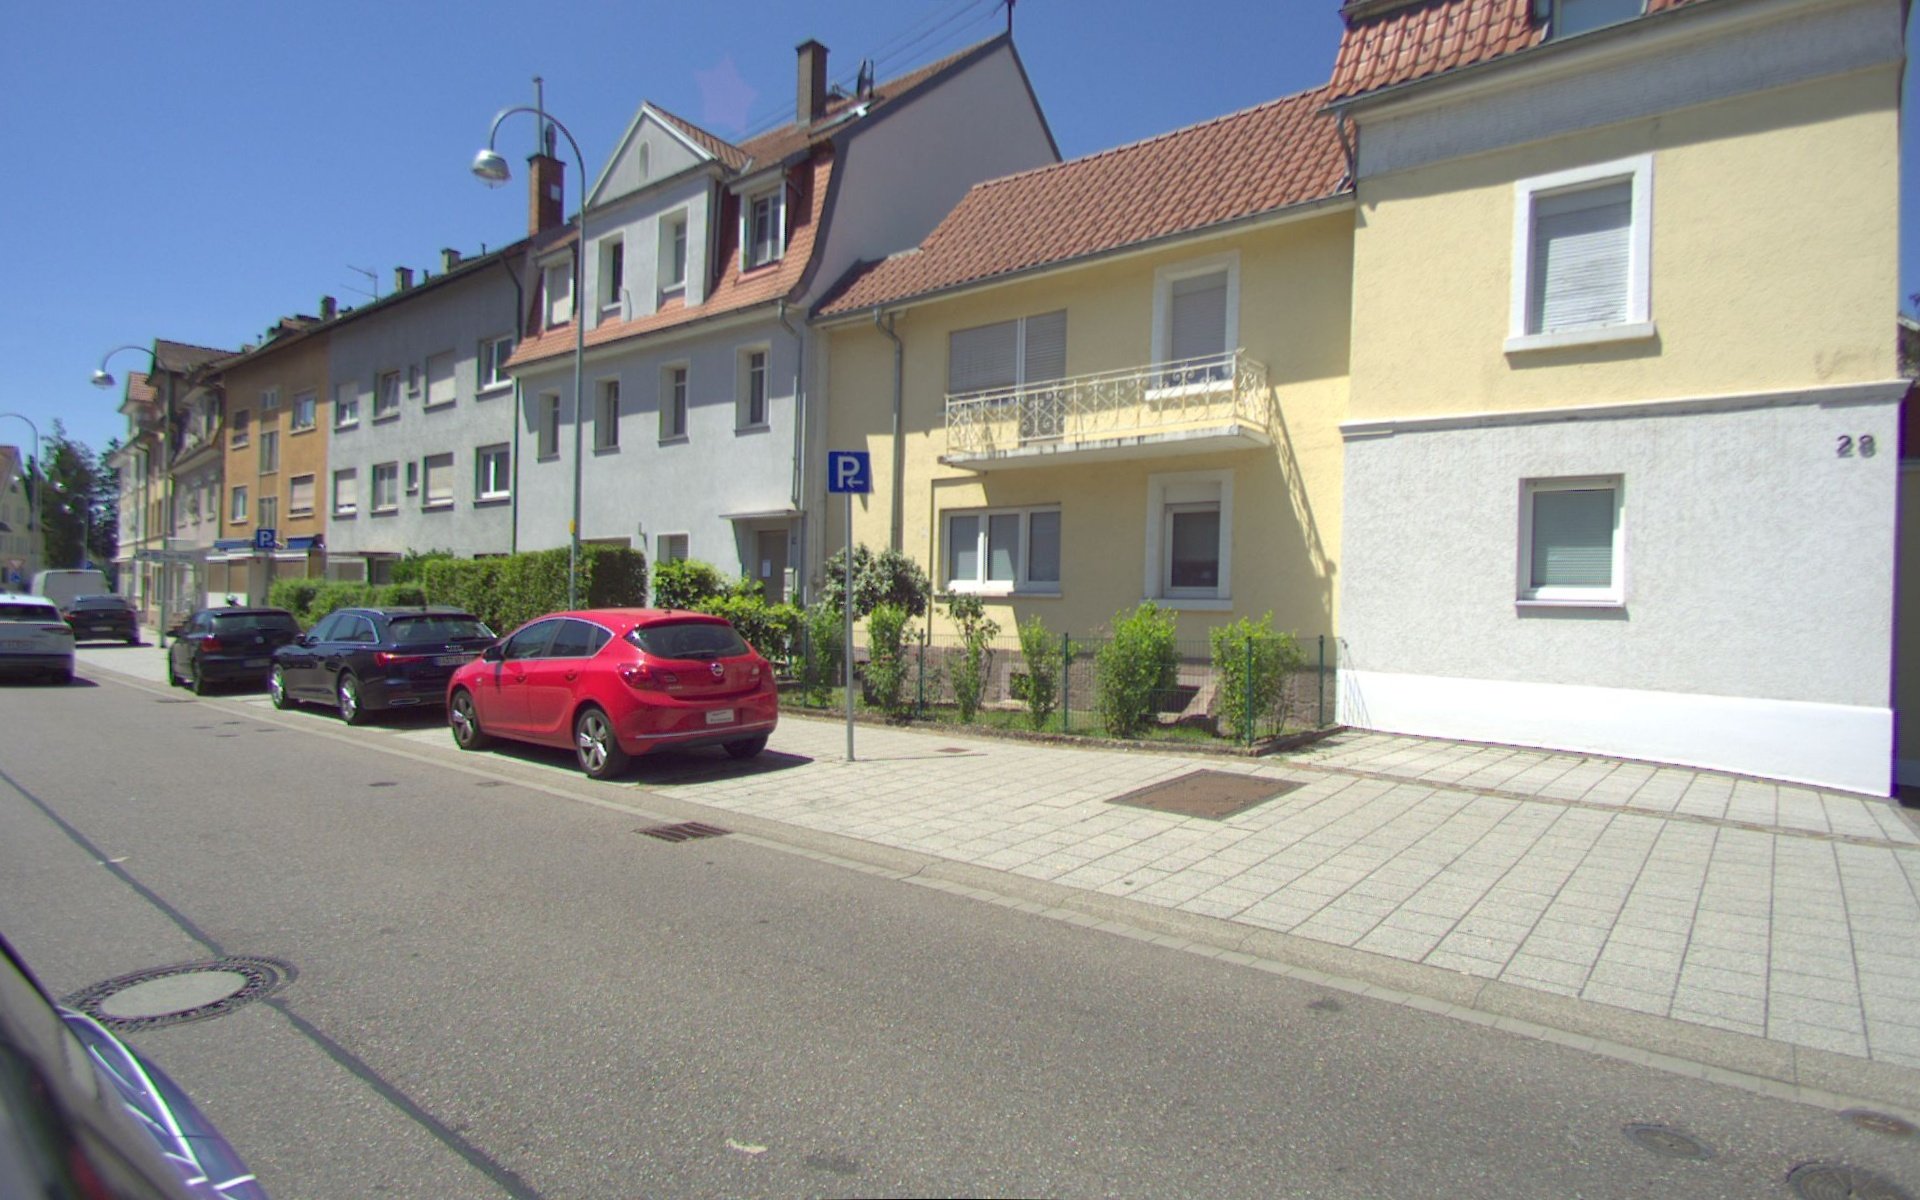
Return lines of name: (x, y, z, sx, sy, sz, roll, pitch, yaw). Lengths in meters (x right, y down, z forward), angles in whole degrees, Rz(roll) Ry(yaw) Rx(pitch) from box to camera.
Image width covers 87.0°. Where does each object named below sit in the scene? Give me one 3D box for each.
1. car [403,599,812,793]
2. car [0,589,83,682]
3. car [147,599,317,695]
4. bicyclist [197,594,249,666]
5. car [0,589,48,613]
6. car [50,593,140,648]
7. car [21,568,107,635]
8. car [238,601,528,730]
car: (-3.792, 0.770, 10.403, 4.735, 1.490, 1.858, 0, 2, 41)
car: (-18.137, 0.604, 18.990, 4.356, 1.609, 1.858, 0, -2, 40)
car: (-13.133, 0.747, 18.165, 4.199, 1.470, 1.768, 0, 2, 45)
bicyclist: (-17.577, 0.702, 24.146, 0.834, 1.672, 0.774, 1, -1, 39)
car: (-60.262, 0.062, 64.685, 1.706, 1.422, 4.013, 3, -2, -25)
car: (-27.770, 0.600, 32.550, 2.059, 1.627, 5.117, 0, 0, -40)
car: (-35.774, 0.012, 40.324, 6.119, 2.468, 2.095, 1, 1, 44)
car: (-8.255, 0.771, 14.222, 5.303, 1.472, 1.844, 0, 1, 40)
